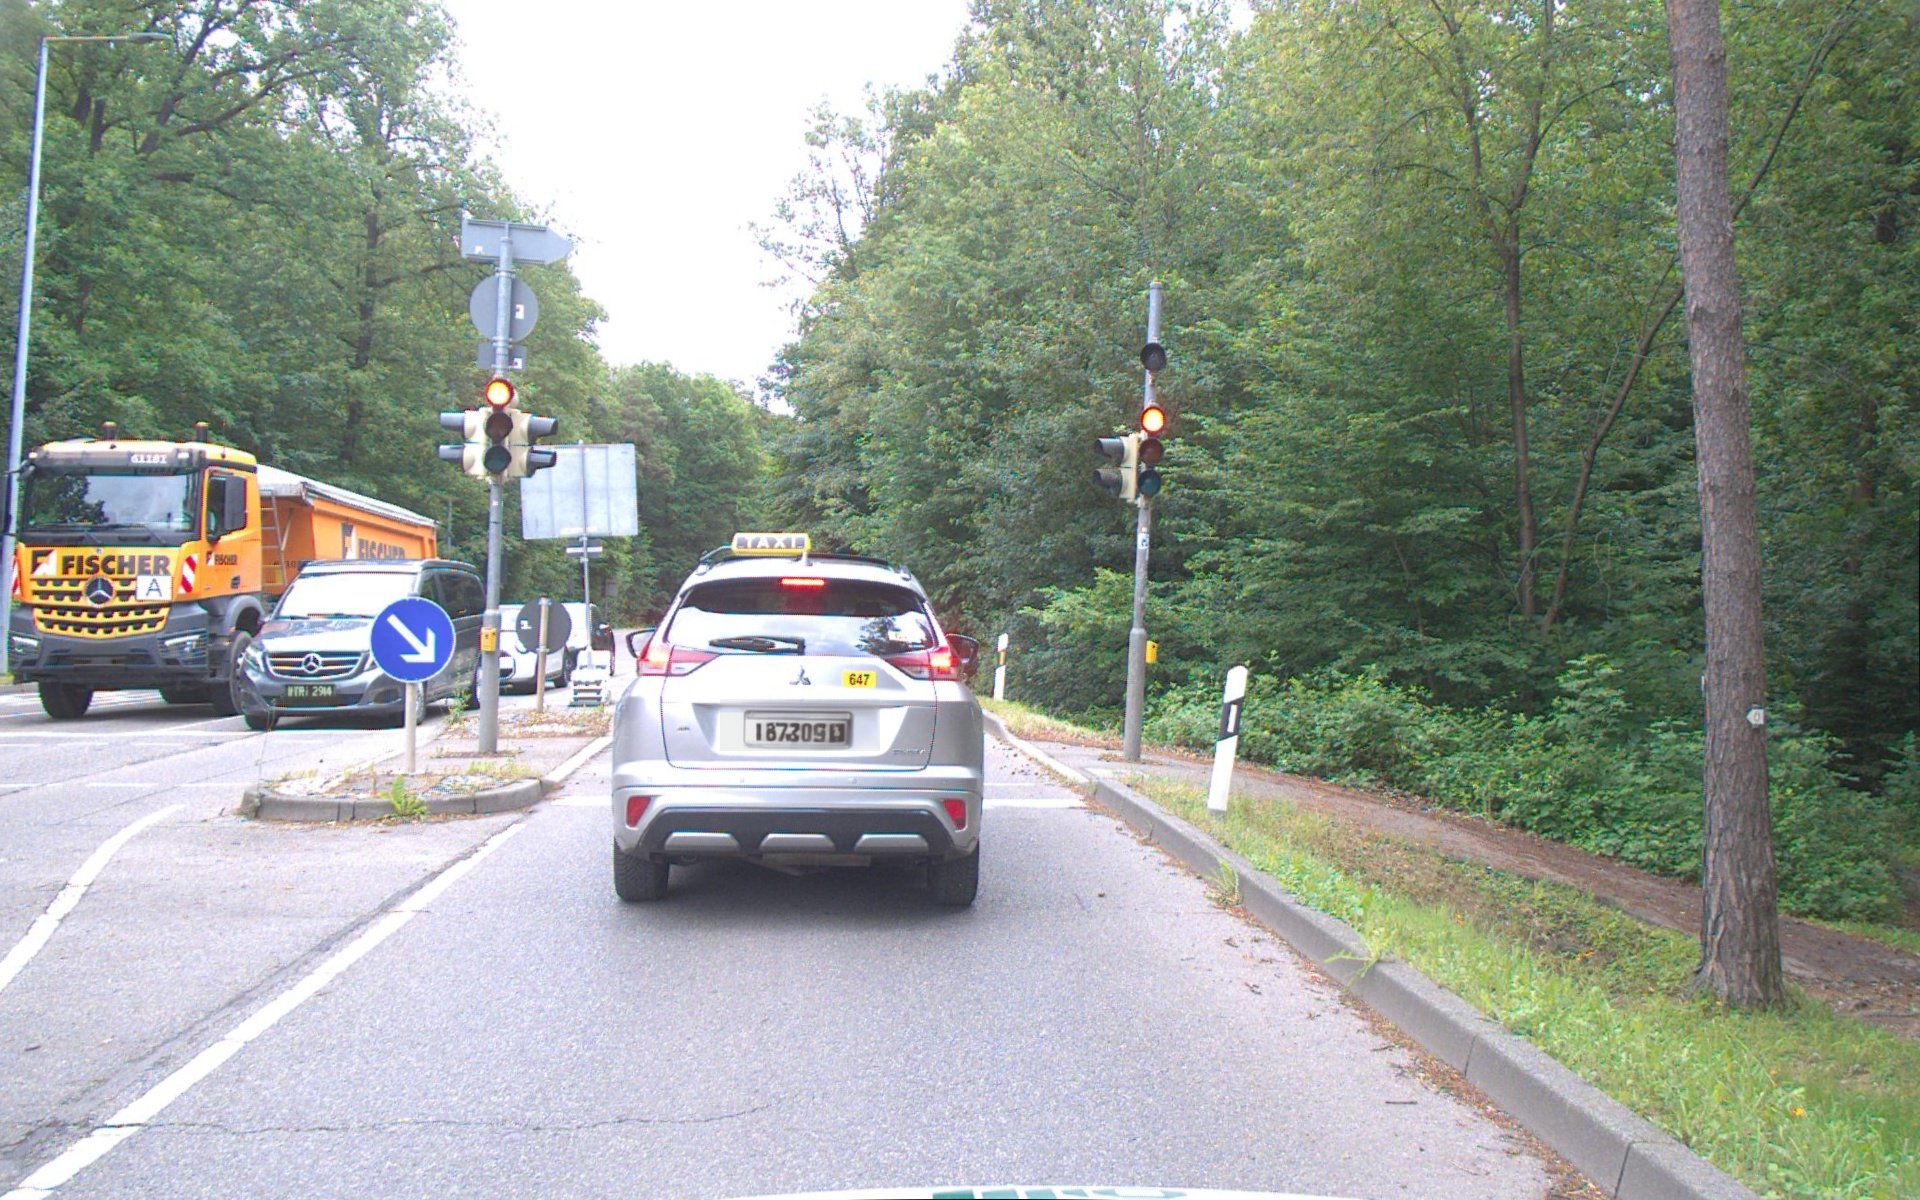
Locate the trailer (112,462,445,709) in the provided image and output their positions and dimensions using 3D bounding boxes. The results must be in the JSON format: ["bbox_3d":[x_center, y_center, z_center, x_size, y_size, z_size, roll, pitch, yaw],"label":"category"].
[{"bbox_3d":[-10.705,-0.143,27.069,2.686,3.376,8.557,0,-1,-6],"label":"trailer"}]

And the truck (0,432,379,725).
[{"bbox_3d":[-10.272,-0.207,22.758,2.686,3.376,7.150,0,-1,-6],"label":"truck"}]

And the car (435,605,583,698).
[{"bbox_3d":[-7.384,0.795,27.418,1.580,1.344,3.719,-1,1,-3],"label":"car"}]

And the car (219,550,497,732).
[{"bbox_3d":[-7.147,0.457,20.218,1.954,1.927,4.834,-1,0,-5],"label":"car"}]

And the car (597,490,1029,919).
[{"bbox_3d":[-0.818,0.457,9.118,1.811,1.811,3.995,2,0,-6],"label":"car"}]

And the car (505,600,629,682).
[{"bbox_3d":[-7.918,0.798,33.591,1.775,1.534,3.719,-1,0,-3],"label":"car"}]
